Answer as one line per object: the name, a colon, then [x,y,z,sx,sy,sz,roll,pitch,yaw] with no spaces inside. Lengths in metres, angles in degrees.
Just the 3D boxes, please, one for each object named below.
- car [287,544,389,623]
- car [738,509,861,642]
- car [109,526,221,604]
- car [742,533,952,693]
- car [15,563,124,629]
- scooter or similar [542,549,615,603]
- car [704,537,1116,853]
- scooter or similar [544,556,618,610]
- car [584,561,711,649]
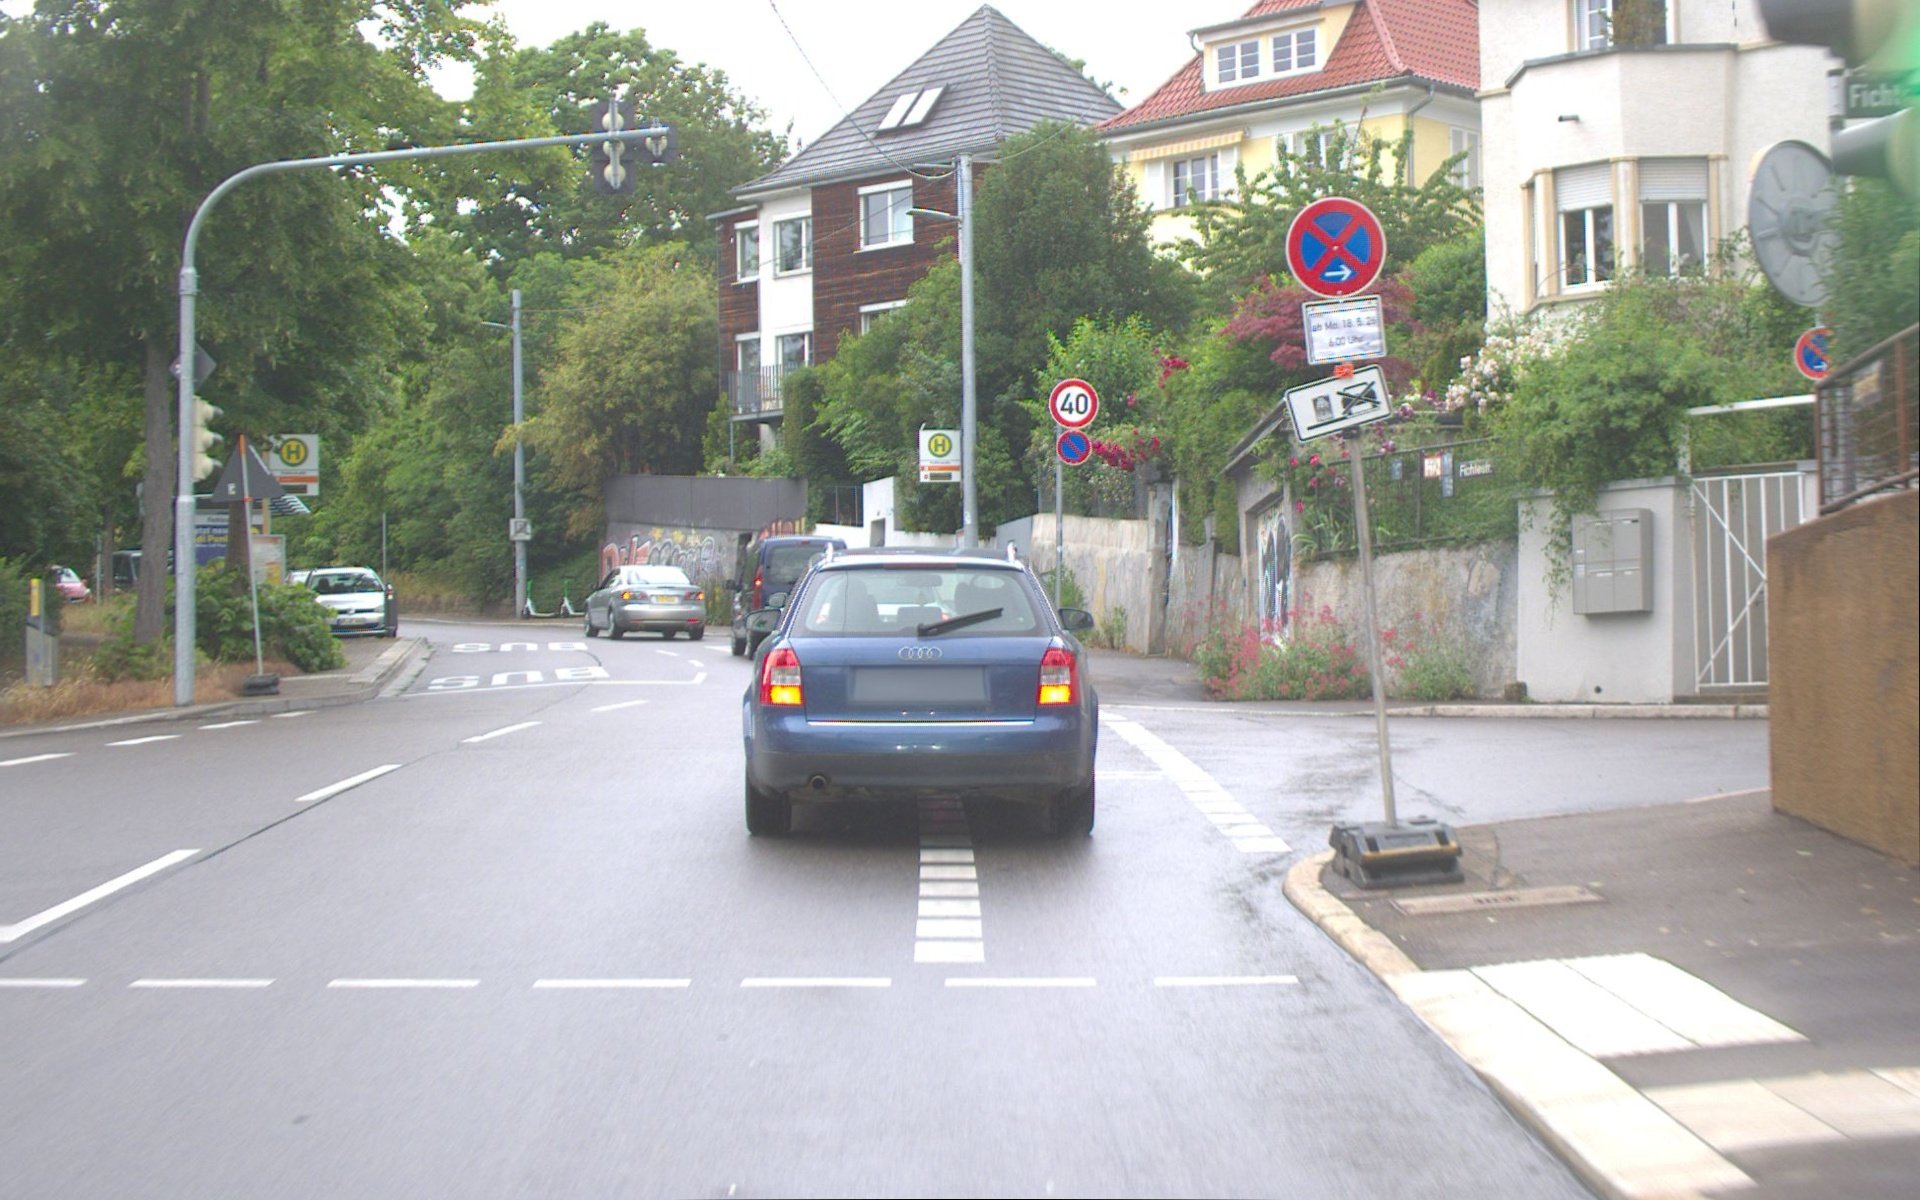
car: [-12.066,-0.340,66.591,1.673,1.422,4.001,-2,1,-13]
car: [-2.412,-0.399,52.014,1.730,1.888,4.056,-2,1,-2]
car: [-19.731,-0.873,85.237,1.836,1.837,3.903,-2,1,-25]
car: [-1.147,0.075,34.270,1.908,1.383,4.351,2,2,-2]
car: [-24.728,-0.113,95.416,1.993,1.722,4.000,-3,1,-28]
scooter or similar: [-10.335,-0.654,93.060,1.833,1.310,0.600,4,-3,-13]
car: [-0.146,0.410,18.023,1.777,1.434,4.000,0,2,5]
scooter or similar: [-10.171,-0.448,92.158,1.833,1.310,0.600,4,-3,-13]
car: [-6.022,0.068,65.928,1.765,1.564,4.031,-2,1,-14]
